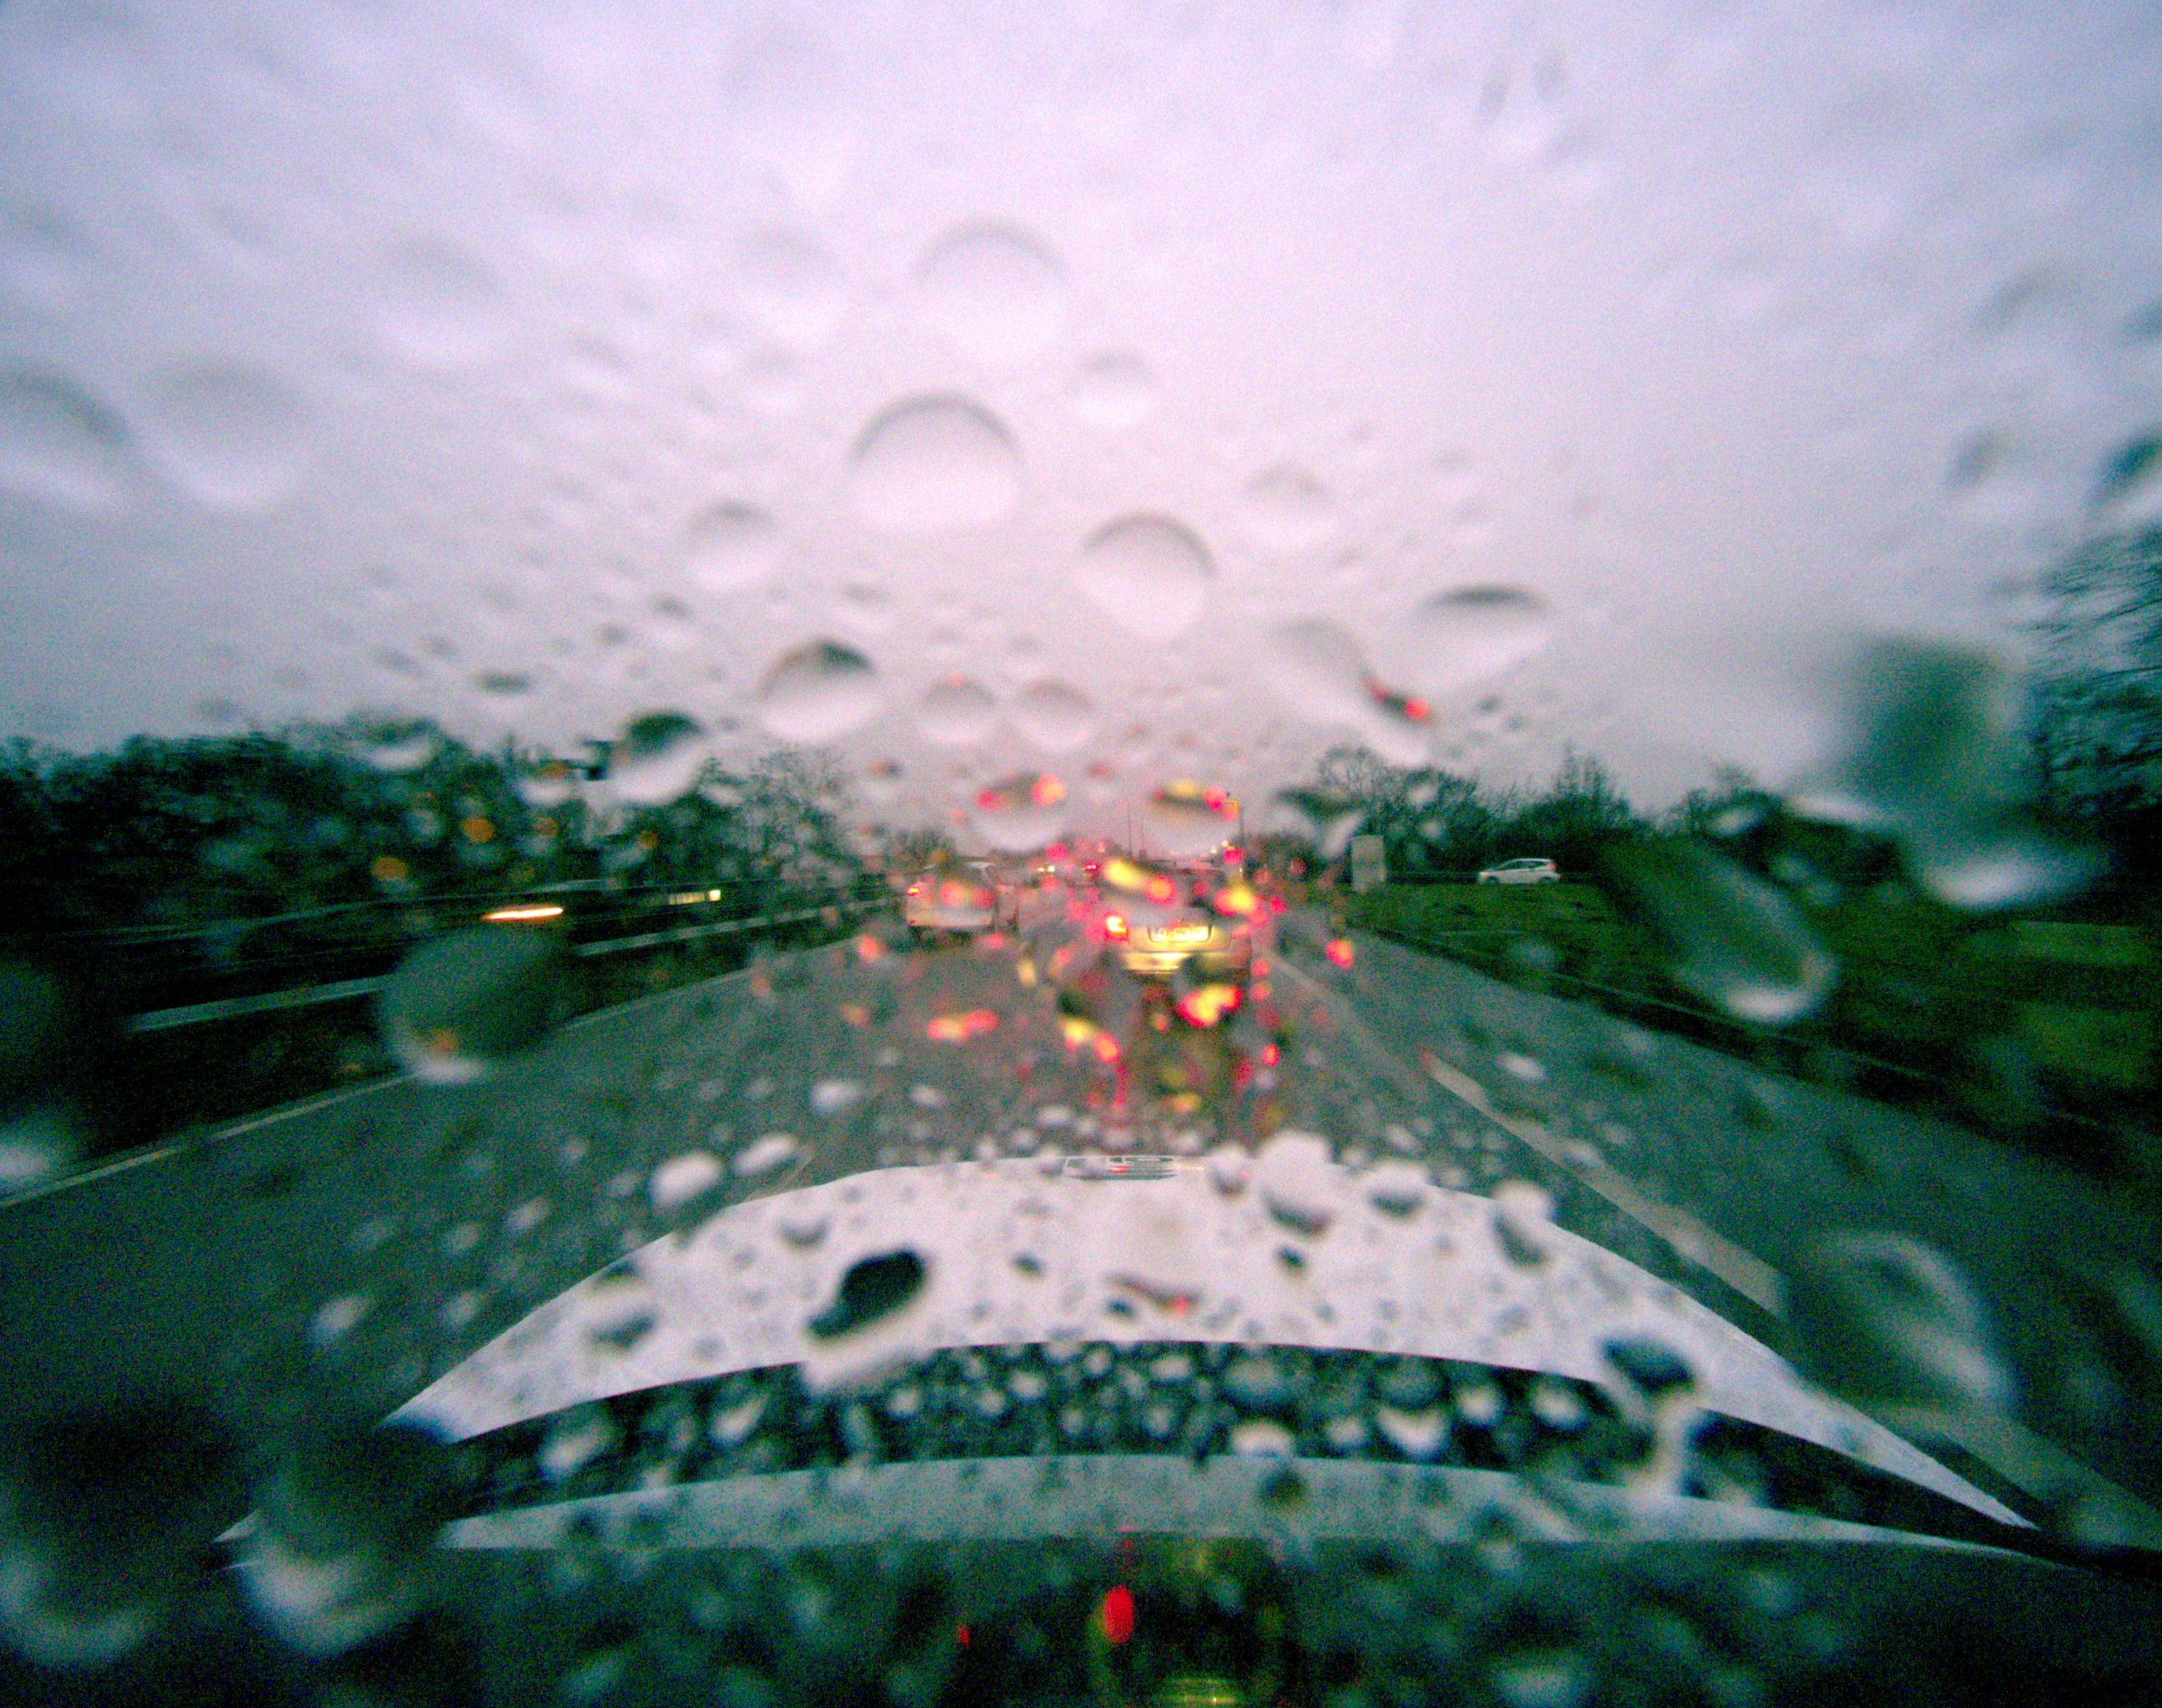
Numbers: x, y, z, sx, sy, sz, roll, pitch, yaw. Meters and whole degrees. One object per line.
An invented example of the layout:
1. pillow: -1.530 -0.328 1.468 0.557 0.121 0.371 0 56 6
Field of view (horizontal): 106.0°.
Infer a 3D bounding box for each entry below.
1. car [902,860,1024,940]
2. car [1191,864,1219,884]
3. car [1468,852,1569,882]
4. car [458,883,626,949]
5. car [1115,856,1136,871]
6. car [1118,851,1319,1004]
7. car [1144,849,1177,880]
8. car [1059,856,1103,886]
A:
1. car: -2.340 0.864 17.192 1.717 1.440 4.229 -1 0 3
2. car: 10.036 1.607 66.281 1.782 1.545 4.002 -2 -1 2
3. car: 20.641 0.622 38.478 3.948 1.346 2.013 -1 0 37
4. car: -13.753 1.527 21.067 1.748 1.410 3.642 -1 0 3
5. car: 4.639 0.982 84.577 1.780 1.545 4.008 -1 0 7
6. car: 1.533 0.773 10.331 1.985 1.500 4.142 -2 -1 4
7. car: 4.906 0.639 49.688 1.887 1.767 4.316 -1 0 7
8. car: 0.053 0.936 46.579 1.983 1.601 4.317 0 0 7
